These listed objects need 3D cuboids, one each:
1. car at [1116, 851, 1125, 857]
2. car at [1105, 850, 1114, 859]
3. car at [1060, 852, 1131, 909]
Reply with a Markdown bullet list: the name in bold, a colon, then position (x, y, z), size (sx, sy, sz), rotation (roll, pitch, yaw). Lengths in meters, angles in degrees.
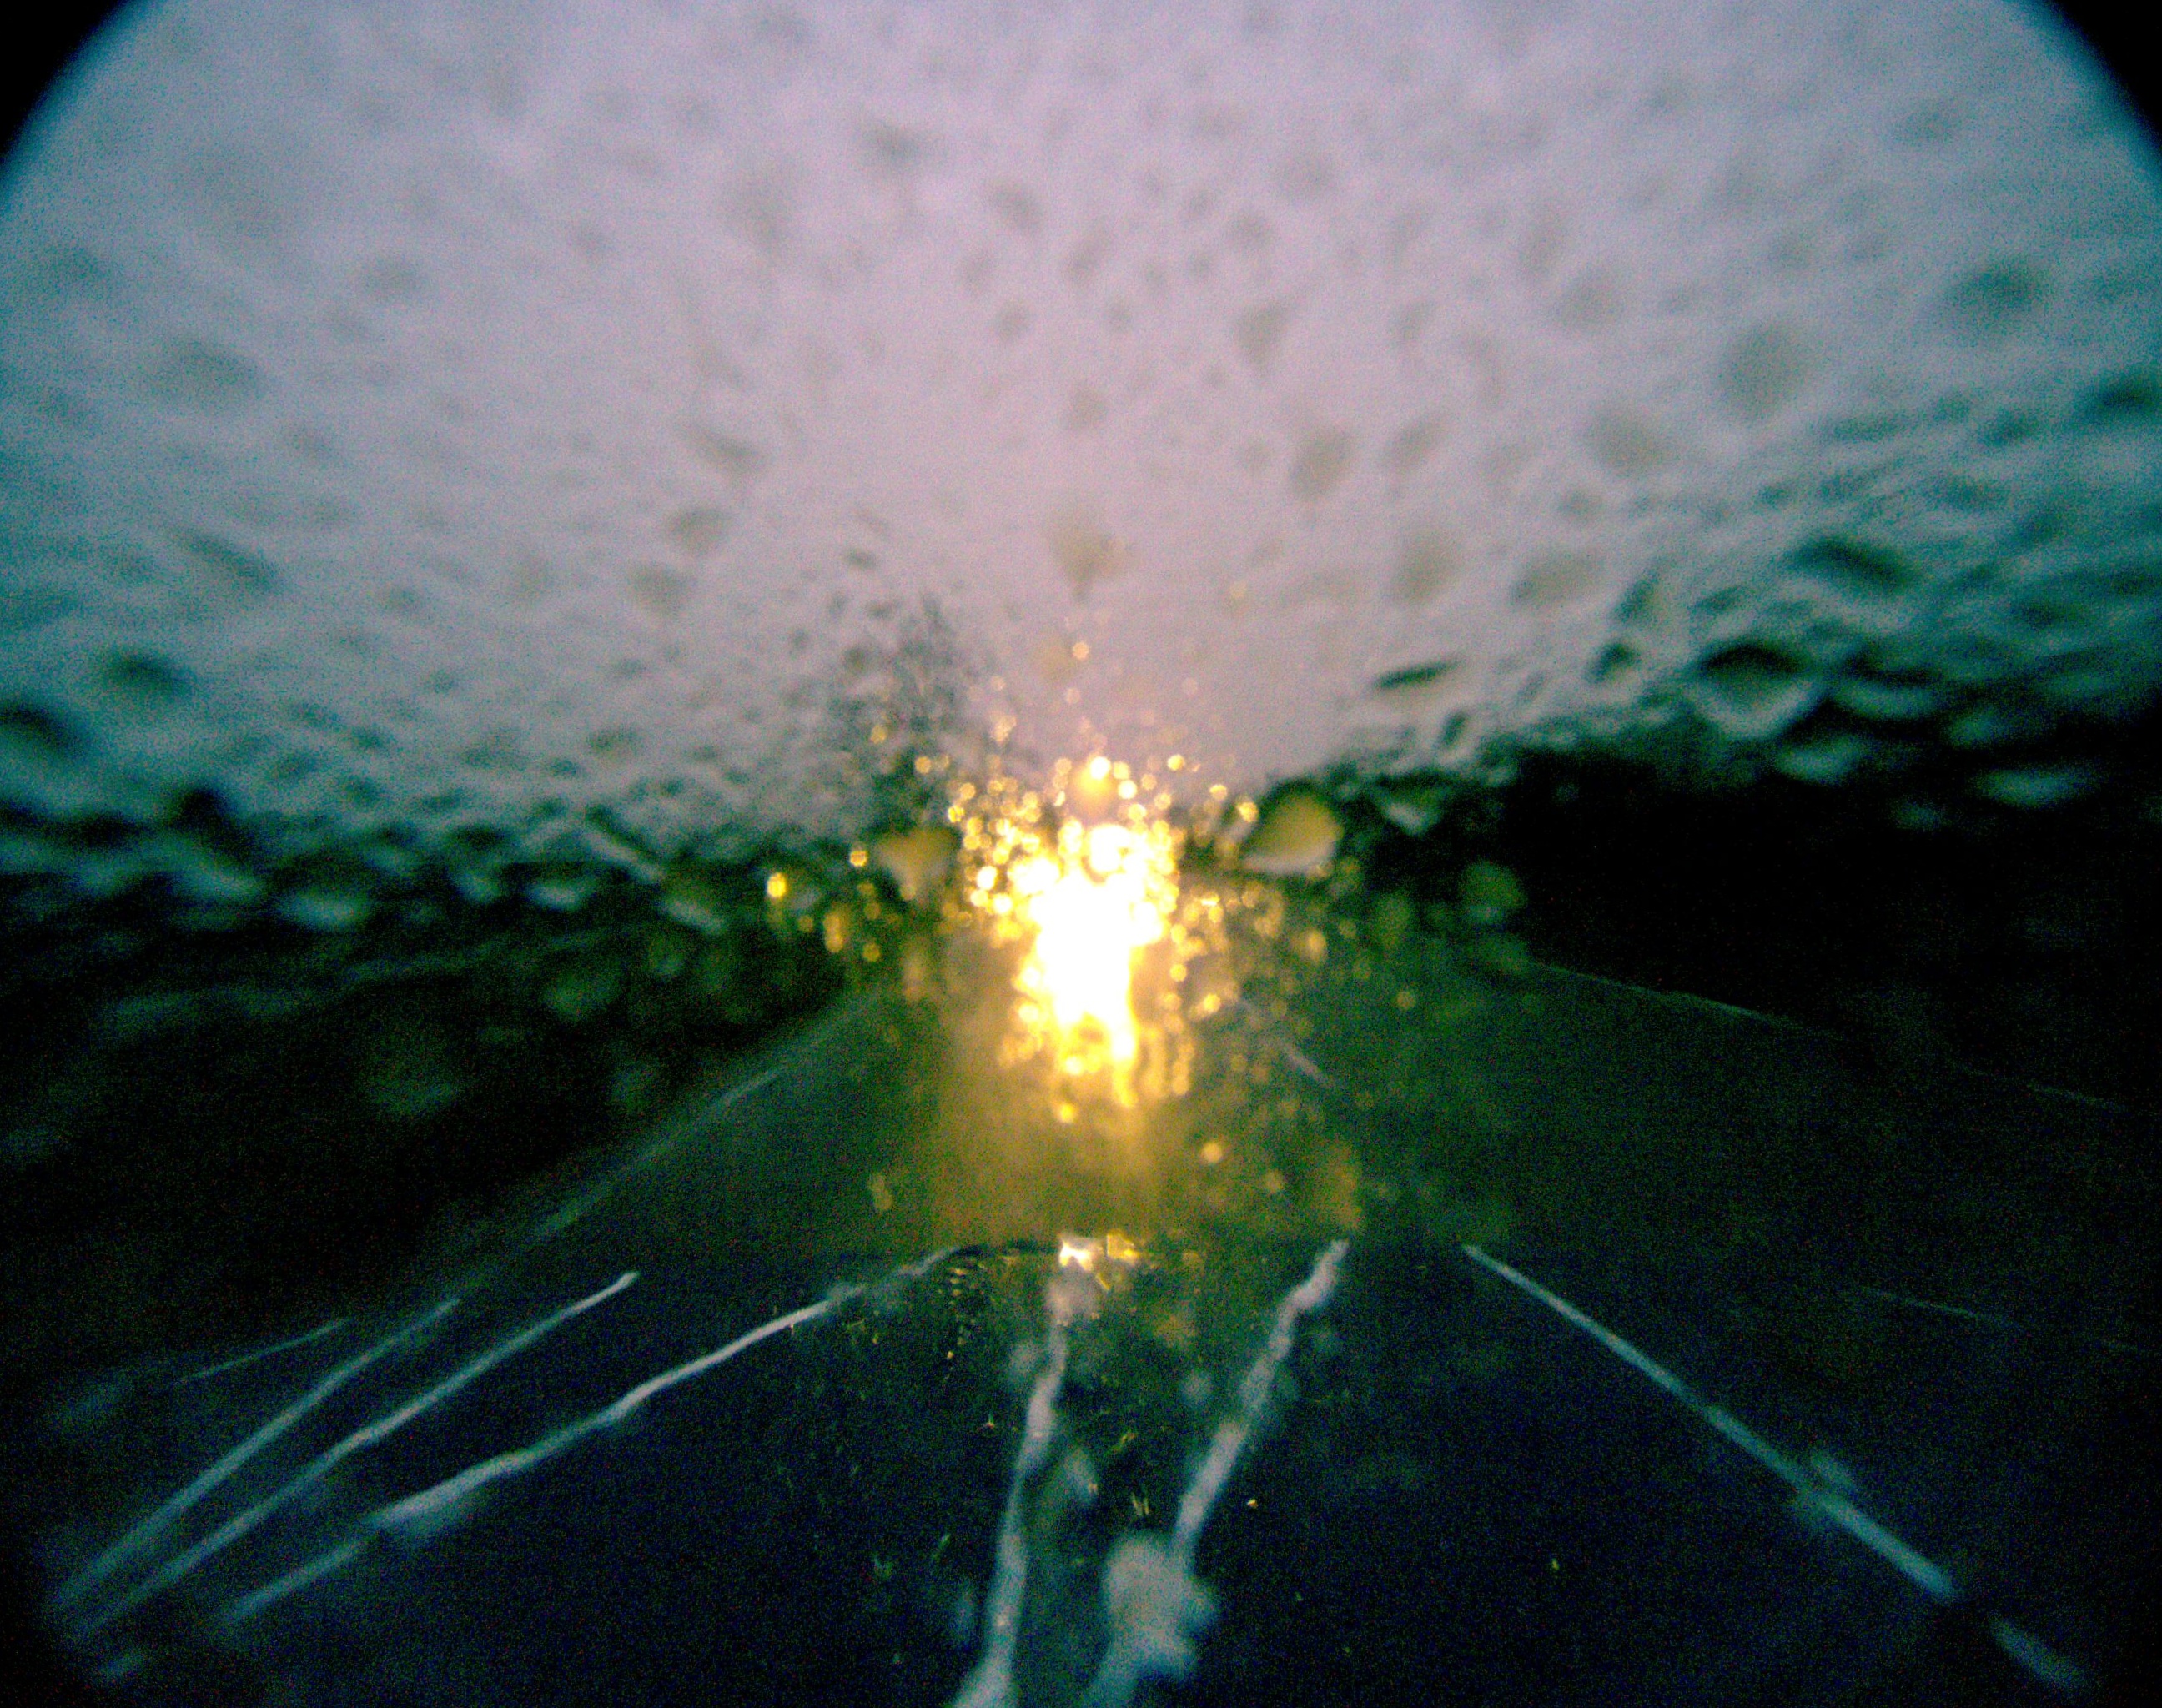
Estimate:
- **car**: position (9.971, 0.075, 191.725), size (1.830, 1.490, 4.095), rotation (-2, 0, 0)
- **car**: position (5.906, 0.088, 160.611), size (1.763, 1.631, 4.686), rotation (-3, 0, 1)
- **car**: position (0.551, 0.788, 24.674), size (1.998, 1.601, 4.001), rotation (-3, 0, 5)
